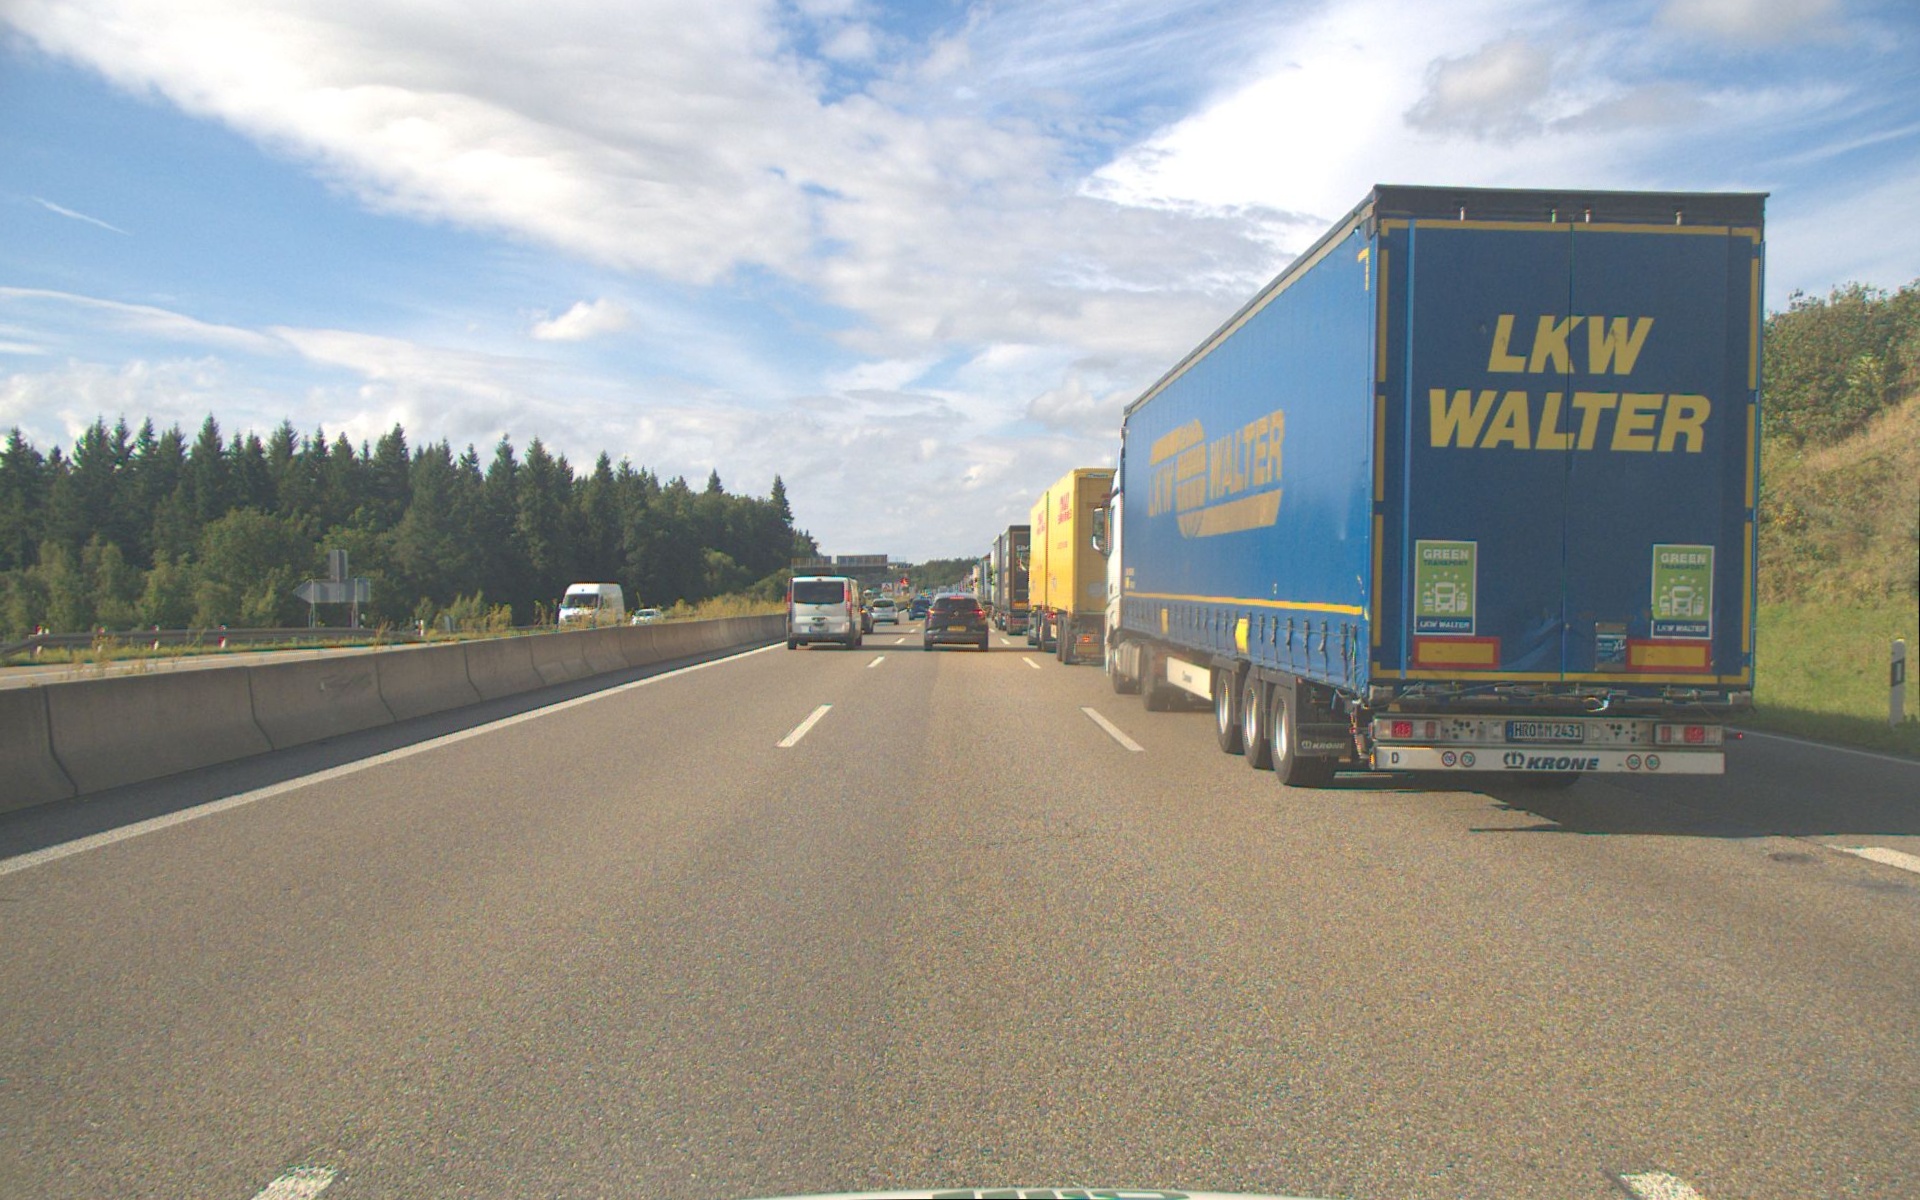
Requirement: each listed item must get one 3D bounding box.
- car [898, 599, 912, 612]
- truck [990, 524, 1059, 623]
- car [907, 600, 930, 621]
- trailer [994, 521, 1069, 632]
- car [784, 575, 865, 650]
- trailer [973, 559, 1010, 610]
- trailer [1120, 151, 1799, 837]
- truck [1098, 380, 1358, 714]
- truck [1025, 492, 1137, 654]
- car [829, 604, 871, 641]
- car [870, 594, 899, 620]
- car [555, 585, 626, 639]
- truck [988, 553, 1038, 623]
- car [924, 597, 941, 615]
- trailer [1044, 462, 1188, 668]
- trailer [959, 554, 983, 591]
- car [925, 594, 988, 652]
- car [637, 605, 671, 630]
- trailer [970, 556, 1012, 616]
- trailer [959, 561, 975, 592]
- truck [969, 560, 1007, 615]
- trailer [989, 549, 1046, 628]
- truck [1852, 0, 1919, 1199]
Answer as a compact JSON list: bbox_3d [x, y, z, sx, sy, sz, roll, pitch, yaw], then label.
[{"bbox_3d":[-5.876,0.592,176.513,1.405,1.333,3.533,0,0,-1],"label":"car"},{"bbox_3d":[2.760,-1.101,74.020,2.684,4.109,10.202,0,0,0],"label":"truck"},{"bbox_3d":[-2.806,0.682,112.315,1.549,1.420,3.207,0,0,0],"label":"car"},{"bbox_3d":[2.689,-0.912,64.549,2.660,4.030,8.712,0,1,1],"label":"trailer"},{"bbox_3d":[-3.800,0.324,47.153,1.893,2.013,5.098,0,0,0],"label":"car"},{"bbox_3d":[2.668,-1.328,144.108,2.648,4.152,12.943,-3,0,0],"label":"trailer"},{"bbox_3d":[3.731,-0.645,17.081,2.588,4.169,13.977,0,0,-1],"label":"trailer"},{"bbox_3d":[3.624,-0.664,23.926,2.594,4.161,6.490,0,0,-1],"label":"truck"},{"bbox_3d":[3.286,-0.723,47.130,2.363,4.139,9.663,0,0,-1],"label":"truck"},{"bbox_3d":[-4.379,0.877,66.364,1.469,1.420,3.475,0,0,0],"label":"car"},{"bbox_3d":[-4.231,0.383,92.966,1.469,1.420,3.475,0,0,0],"label":"car"},{"bbox_3d":[-18.639,0.575,83.796,1.992,2.623,7.320,0,0,-1],"label":"car"},{"bbox_3d":[3.145,-0.684,99.306,2.744,4.007,5.826,-2,0,0],"label":"truck"},{"bbox_3d":[-2.245,0.473,134.815,1.333,1.420,3.084,0,0,0],"label":"car"},{"bbox_3d":[3.379,-0.726,37.825,2.363,4.139,8.925,0,0,-1],"label":"trailer"},{"bbox_3d":[1.352,-3.405,208.178,2.745,4.317,11.057,-3,0,0],"label":"trailer"},{"bbox_3d":[-0.112,0.606,45.912,1.662,1.509,4.159,0,0,0],"label":"car"},{"bbox_3d":[-22.893,1.276,123.952,1.954,1.831,4.972,0,0,-4],"label":"car"},{"bbox_3d":[2.150,-0.949,118.536,2.607,3.936,13.394,-3,0,0],"label":"trailer"},{"bbox_3d":[1.081,-3.328,240.360,2.106,4.333,8.440,-2,0,0],"label":"trailer"},{"bbox_3d":[2.118,-0.955,125.651,2.593,3.936,6.995,-2,0,0],"label":"truck"},{"bbox_3d":[3.101,-0.607,92.863,2.734,4.007,13.070,-2,0,0],"label":"trailer"},{"bbox_3d":[3.615,-0.494,0.803,2.595,3.993,6.941,0,0,0],"label":"truck"}]
